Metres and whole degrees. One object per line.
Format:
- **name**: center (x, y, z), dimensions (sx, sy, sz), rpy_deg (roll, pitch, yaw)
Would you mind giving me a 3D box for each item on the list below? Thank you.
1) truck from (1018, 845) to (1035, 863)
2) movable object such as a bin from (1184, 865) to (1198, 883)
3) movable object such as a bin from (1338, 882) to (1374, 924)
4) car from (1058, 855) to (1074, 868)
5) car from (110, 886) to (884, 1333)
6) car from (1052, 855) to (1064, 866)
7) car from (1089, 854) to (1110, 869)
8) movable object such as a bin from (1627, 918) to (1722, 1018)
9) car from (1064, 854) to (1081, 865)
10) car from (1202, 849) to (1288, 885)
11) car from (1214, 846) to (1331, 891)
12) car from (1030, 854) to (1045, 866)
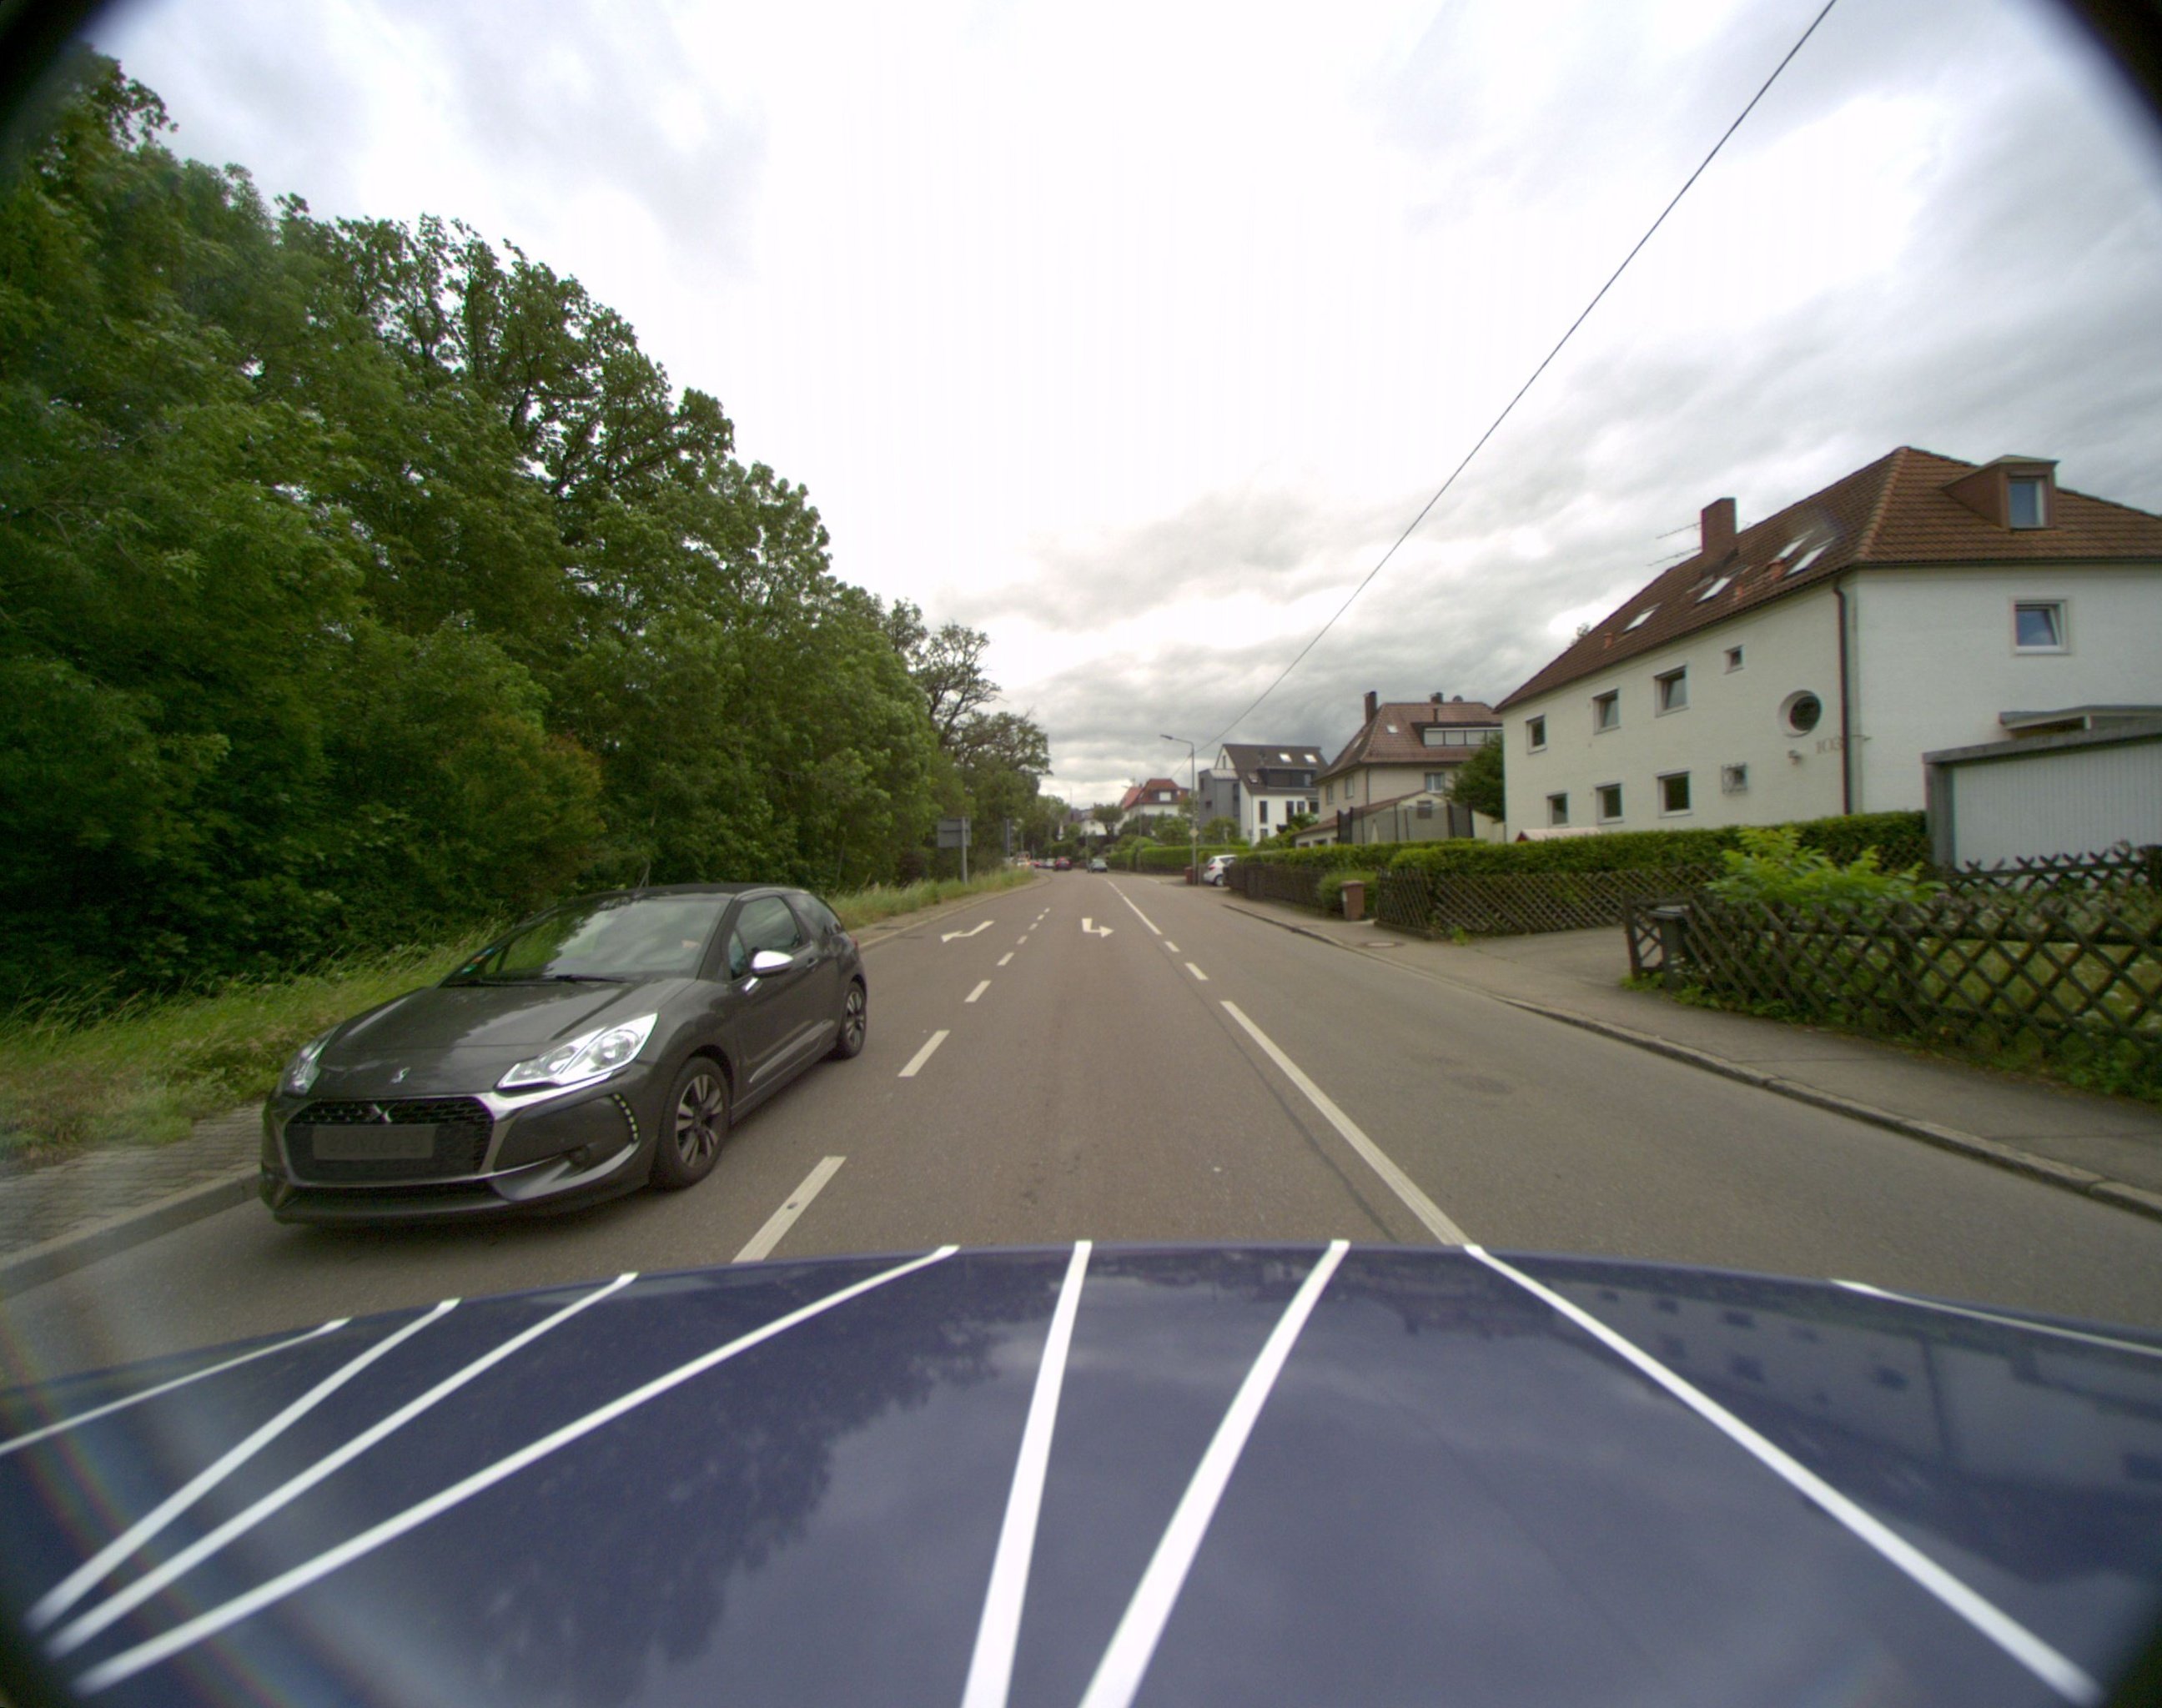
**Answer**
- **truck**: center (-11.270, 0.022, 157.315), dimensions (3.008, 3.618, 7.083), rpy_deg (-1, 0, -8)
- **movable object such as a bin**: center (6.141, 1.124, 42.307), dimensions (0.689, 0.948, 0.572), rpy_deg (-1, 0, 19)
- **movable object such as a bin**: center (6.222, 1.108, 17.213), dimensions (0.634, 0.907, 0.561), rpy_deg (-3, 0, 11)
- **car**: center (-2.006, 0.934, 99.592), dimensions (1.818, 1.590, 3.955), rpy_deg (-1, 0, -4)
- **car**: center (-2.681, 1.042, 4.755), dimensions (1.730, 1.449, 3.855), rpy_deg (-2, 0, 2)
- **car**: center (-3.707, 1.059, 122.237), dimensions (1.832, 1.665, 3.998), rpy_deg (-1, 1, -3)
- **car**: center (2.015, 0.835, 84.588), dimensions (1.840, 1.514, 3.998), rpy_deg (-1, 0, -5)
- **movable object such as a bin**: center (6.041, 1.145, 7.756), dimensions (0.551, 0.933, 0.538), rpy_deg (-1, 0, 2)
- **car**: center (-1.213, 0.762, 108.563), dimensions (1.876, 1.569, 3.997), rpy_deg (-1, 0, -8)
- **car**: center (8.446, 0.669, 39.273), dimensions (3.997, 1.584, 1.718), rpy_deg (-3, 0, 1)
- **car**: center (8.439, 0.634, 33.763), dimensions (4.682, 1.660, 1.882), rpy_deg (-3, 0, -1)
- **car**: center (-7.267, 0.979, 125.488), dimensions (2.000, 1.749, 3.996), rpy_deg (-1, 0, -10)
